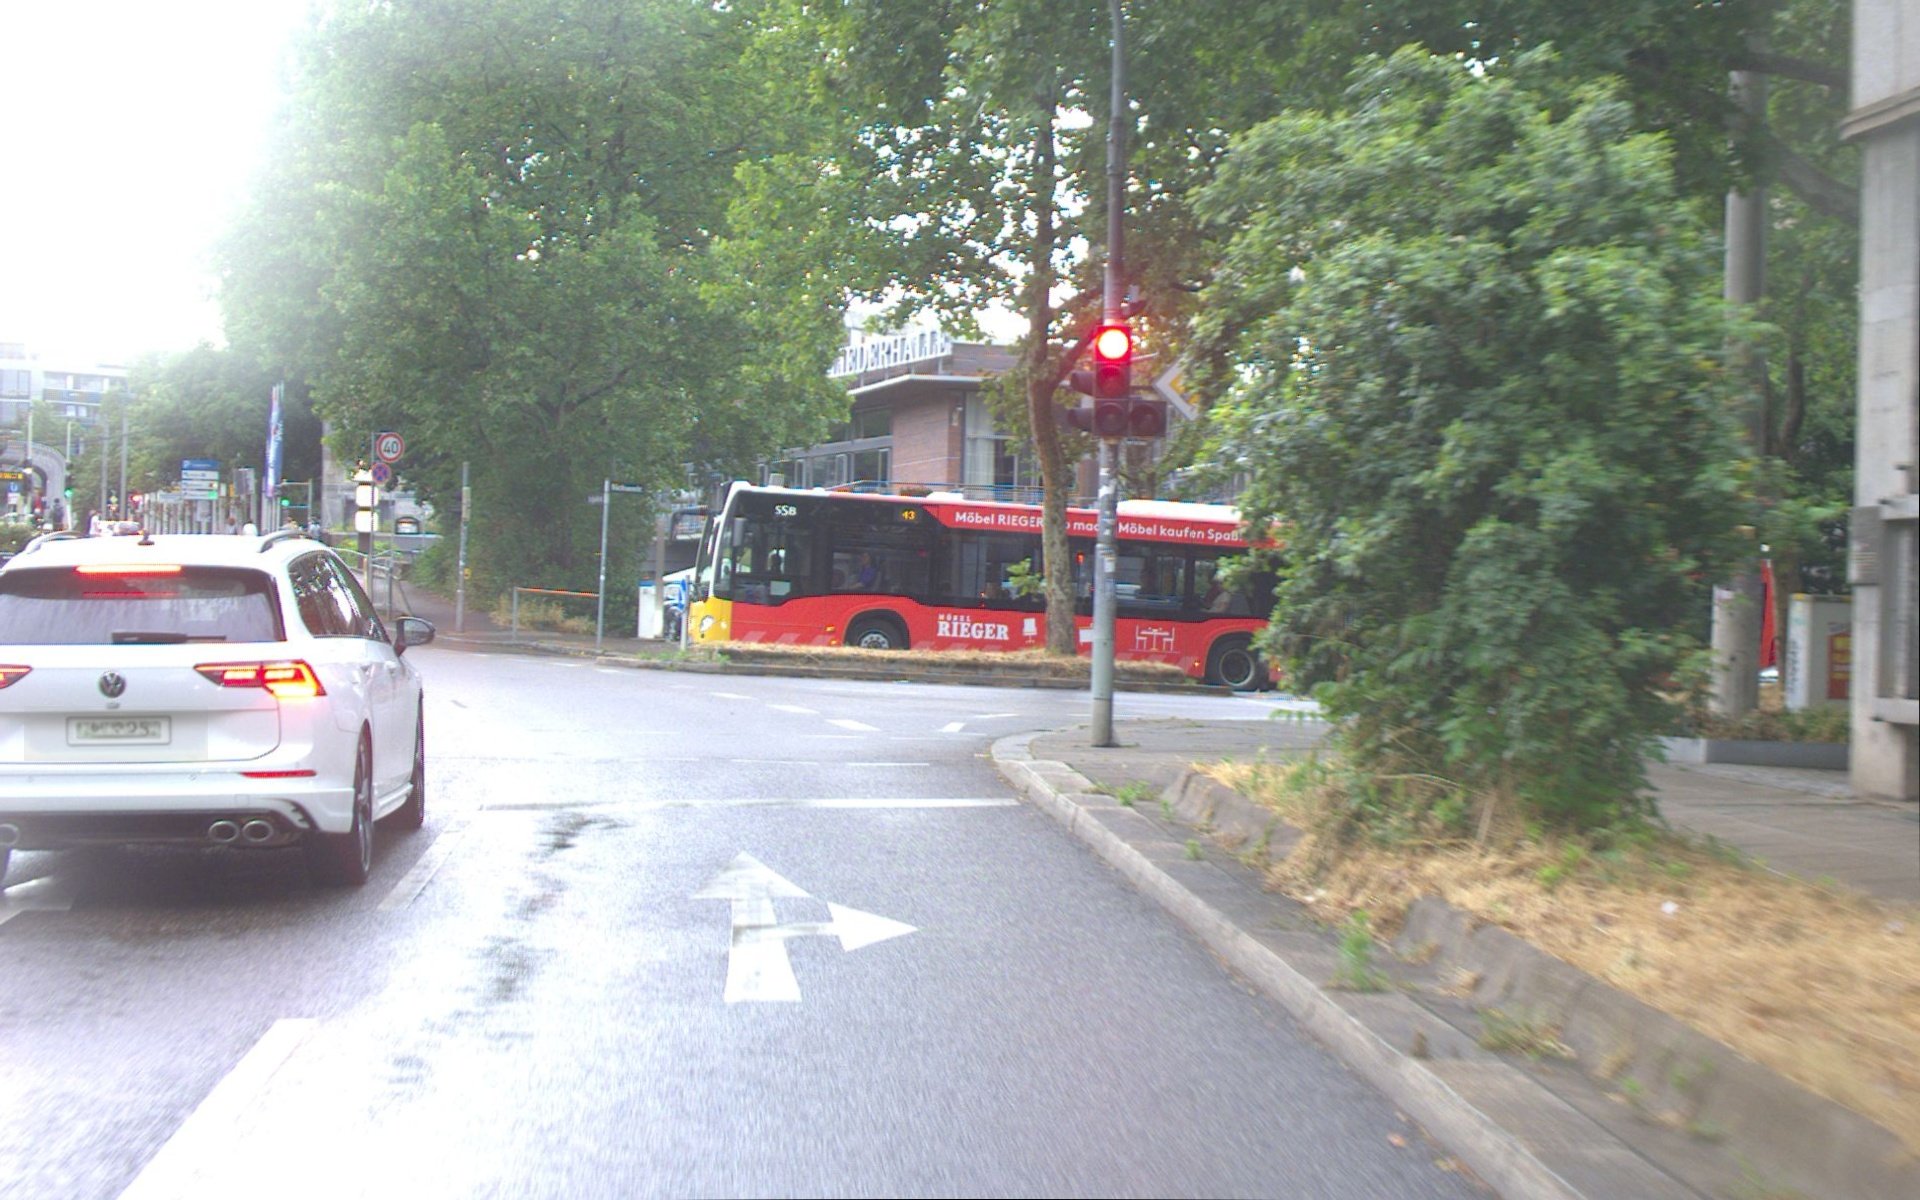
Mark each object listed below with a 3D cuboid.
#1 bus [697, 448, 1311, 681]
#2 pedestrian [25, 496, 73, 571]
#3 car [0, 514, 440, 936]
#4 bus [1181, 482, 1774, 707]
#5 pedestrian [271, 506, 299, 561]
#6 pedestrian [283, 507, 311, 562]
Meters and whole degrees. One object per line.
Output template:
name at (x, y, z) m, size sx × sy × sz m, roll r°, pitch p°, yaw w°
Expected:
bus at (0.665, -0.542, 55.358) m, size 9.422 × 3.100 × 2.559 m, roll 3°, pitch 0°, yaw -9°
pedestrian at (-20.357, -1.485, 76.837) m, size 0.738 × 1.634 × 0.871 m, roll 3°, pitch 0°, yaw 0°
car at (-3.353, 0.425, 15.163) m, size 1.679 × 1.571 × 4.254 m, roll 1°, pitch 1°, yaw -3°
bus at (8.493, -0.079, 56.700) m, size 9.152 × 3.100 × 2.664 m, roll 3°, pitch 0°, yaw -10°
pedestrian at (-22.676, -2.232, 115.454) m, size 0.756 × 1.817 × 0.701 m, roll 3°, pitch 0°, yaw -16°
pedestrian at (-22.564, -2.224, 117.000) m, size 0.756 × 1.817 × 0.701 m, roll 3°, pitch 0°, yaw -16°
